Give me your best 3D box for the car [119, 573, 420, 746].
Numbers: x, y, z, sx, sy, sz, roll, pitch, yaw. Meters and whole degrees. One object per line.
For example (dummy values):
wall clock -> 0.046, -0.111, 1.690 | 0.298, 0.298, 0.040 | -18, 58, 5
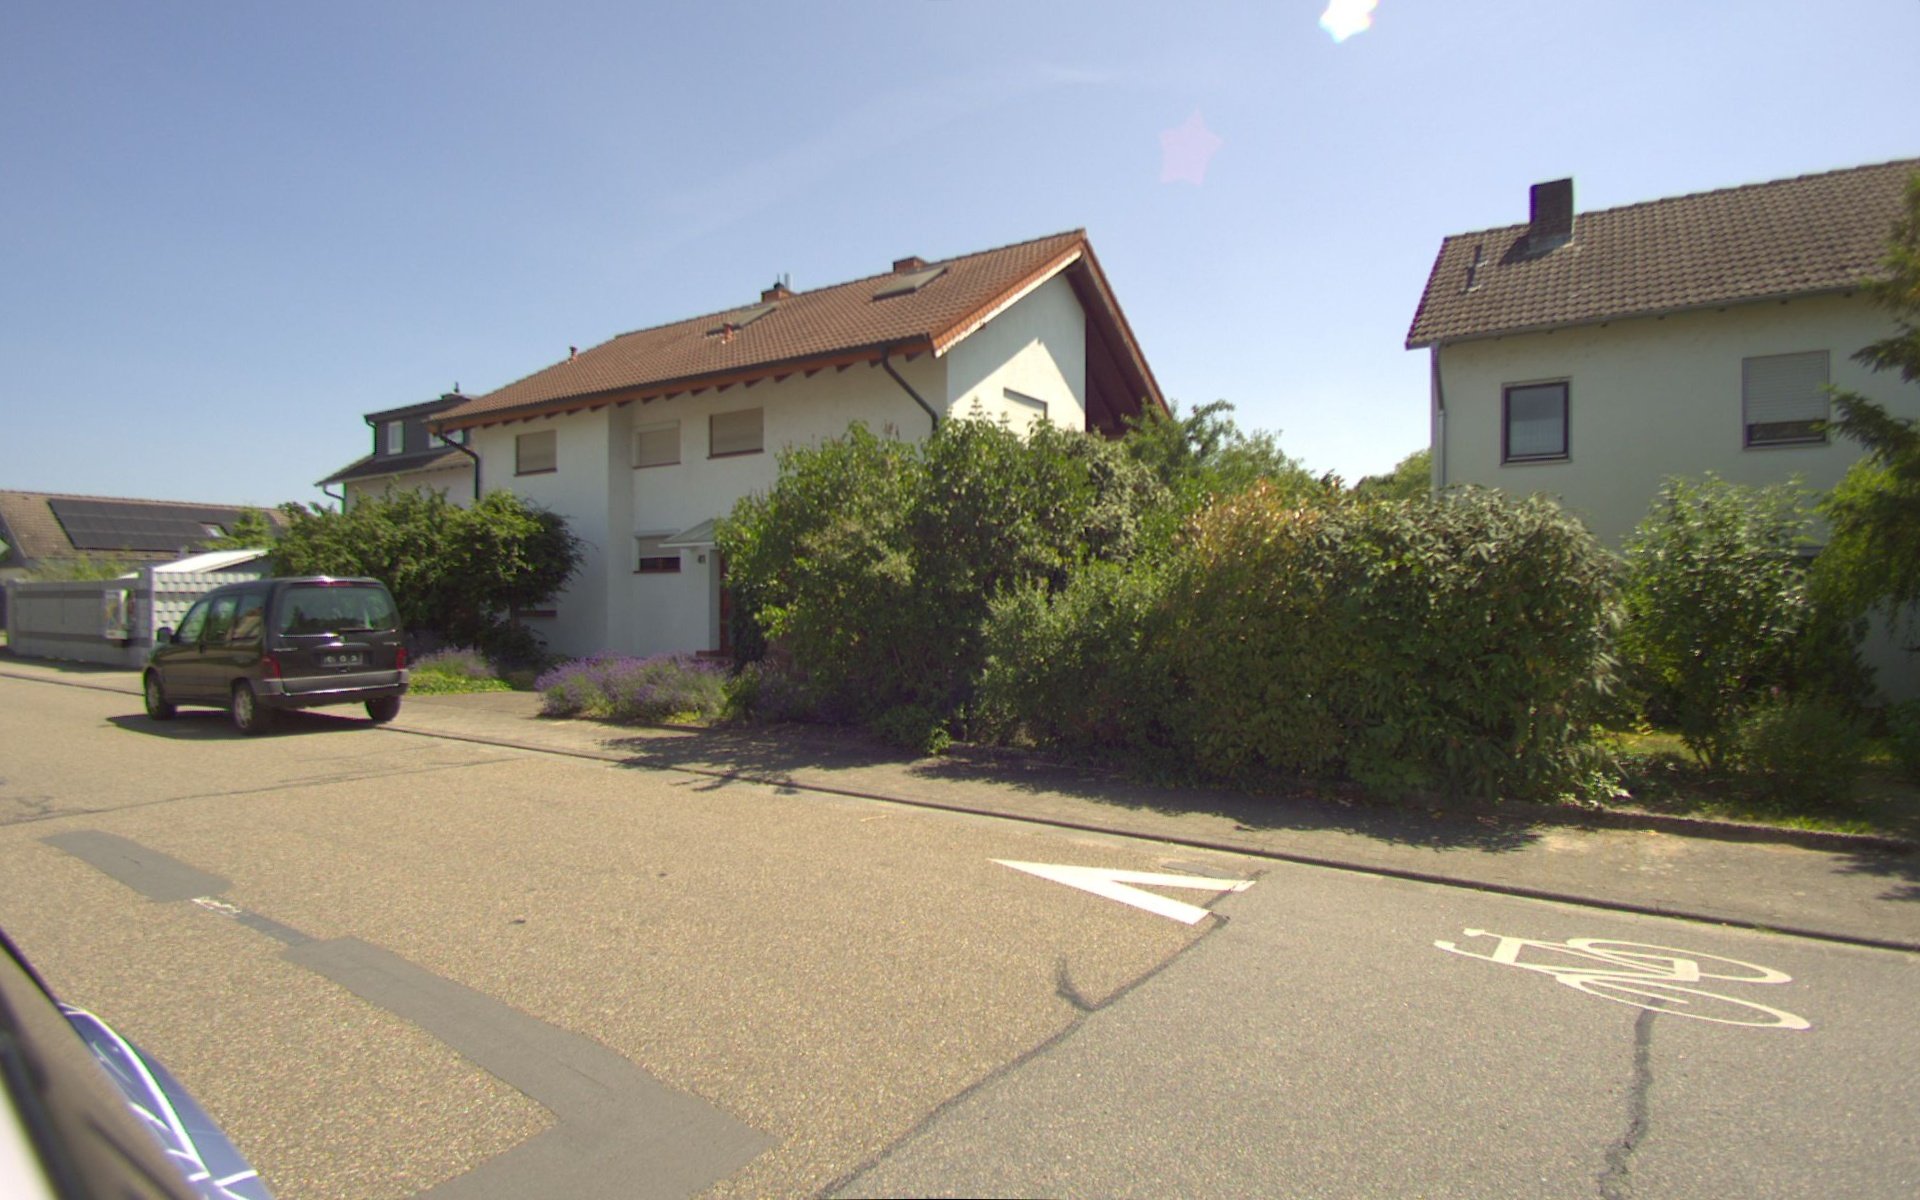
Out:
car -> -8.746, 0.638, 12.732 | 4.042, 1.860, 1.705 | 0, 0, 33
